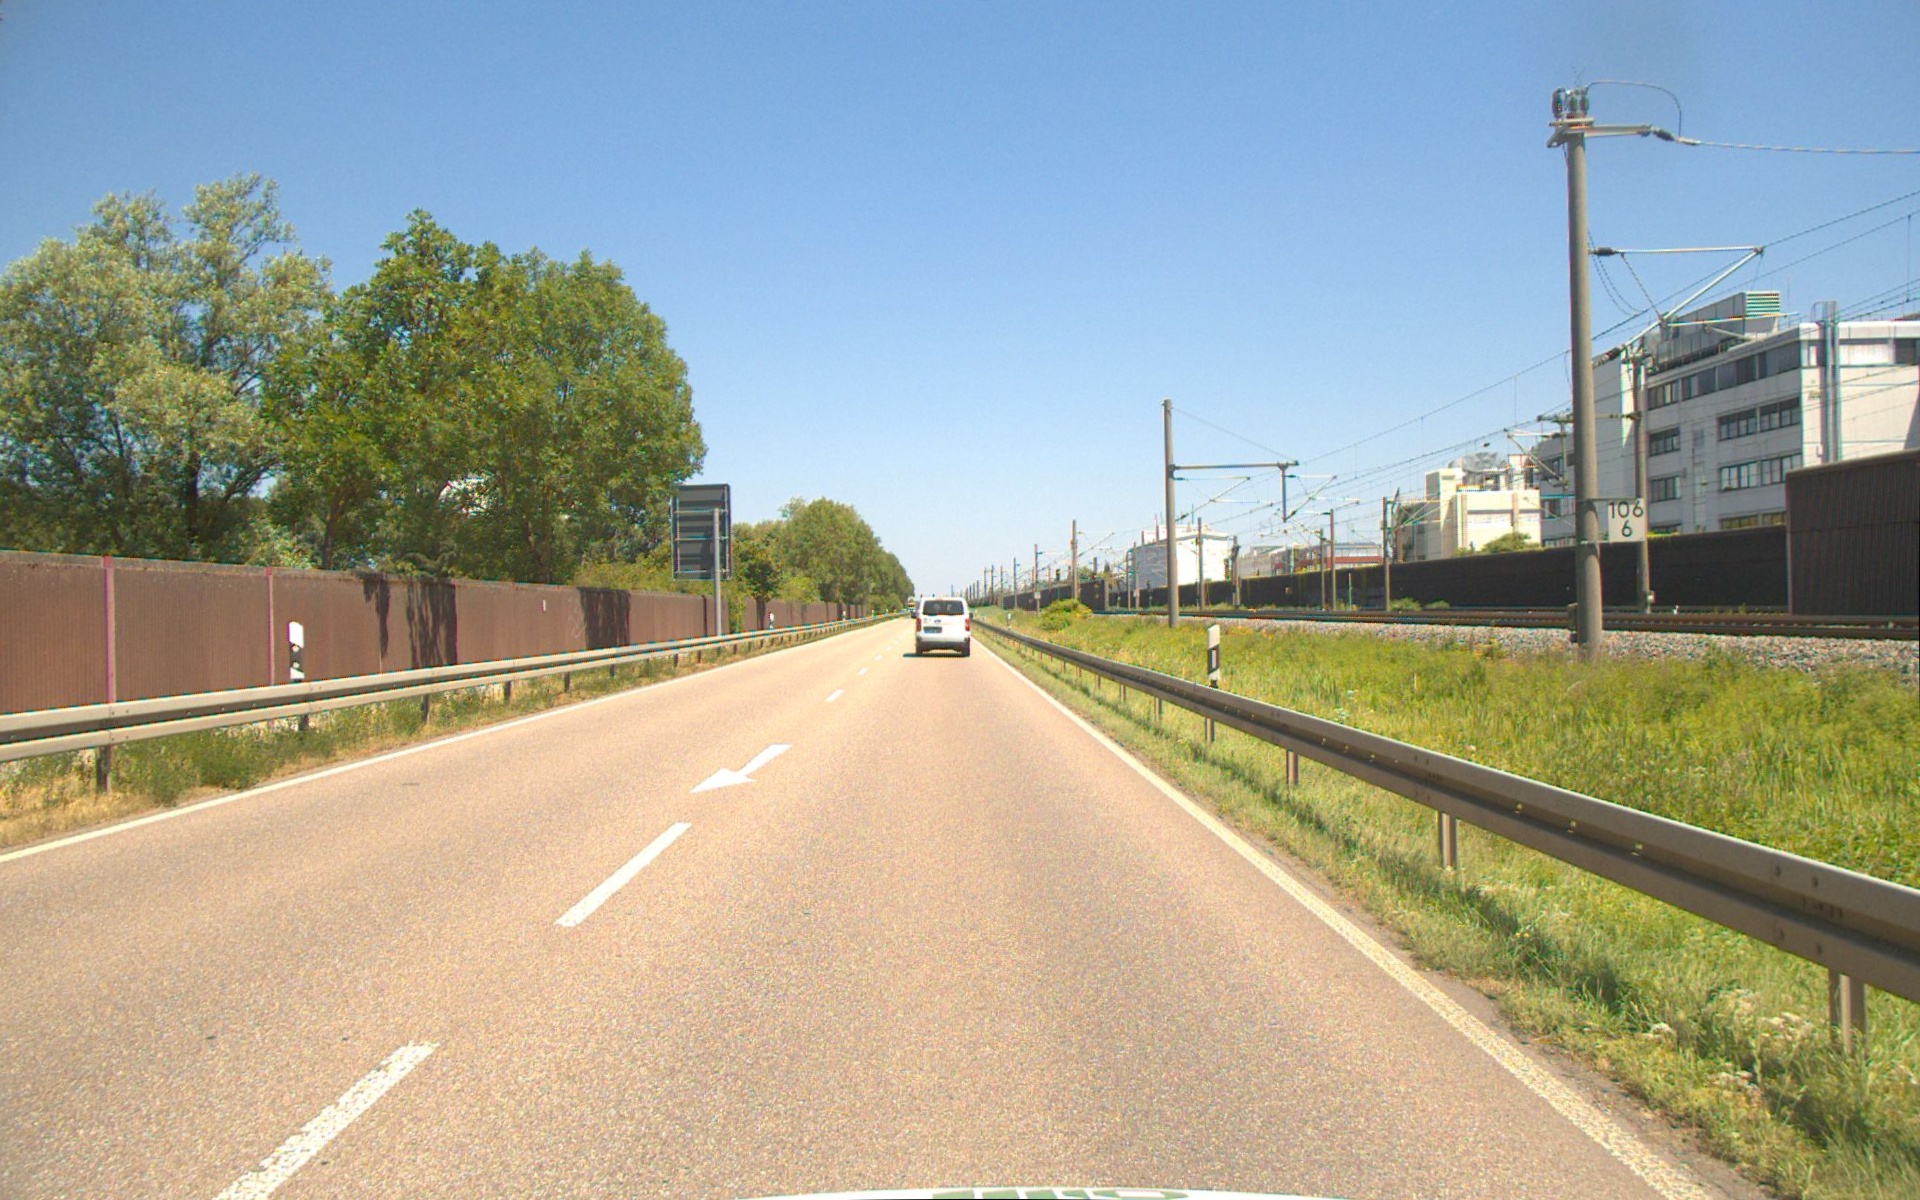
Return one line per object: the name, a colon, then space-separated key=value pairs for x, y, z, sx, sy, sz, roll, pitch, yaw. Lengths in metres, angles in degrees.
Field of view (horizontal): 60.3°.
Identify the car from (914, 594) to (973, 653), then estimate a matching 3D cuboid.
car: x=-0.582 y=0.793 z=56.032 sx=1.906 sy=1.914 sz=4.879 roll=0 pitch=-1 yaw=-1
